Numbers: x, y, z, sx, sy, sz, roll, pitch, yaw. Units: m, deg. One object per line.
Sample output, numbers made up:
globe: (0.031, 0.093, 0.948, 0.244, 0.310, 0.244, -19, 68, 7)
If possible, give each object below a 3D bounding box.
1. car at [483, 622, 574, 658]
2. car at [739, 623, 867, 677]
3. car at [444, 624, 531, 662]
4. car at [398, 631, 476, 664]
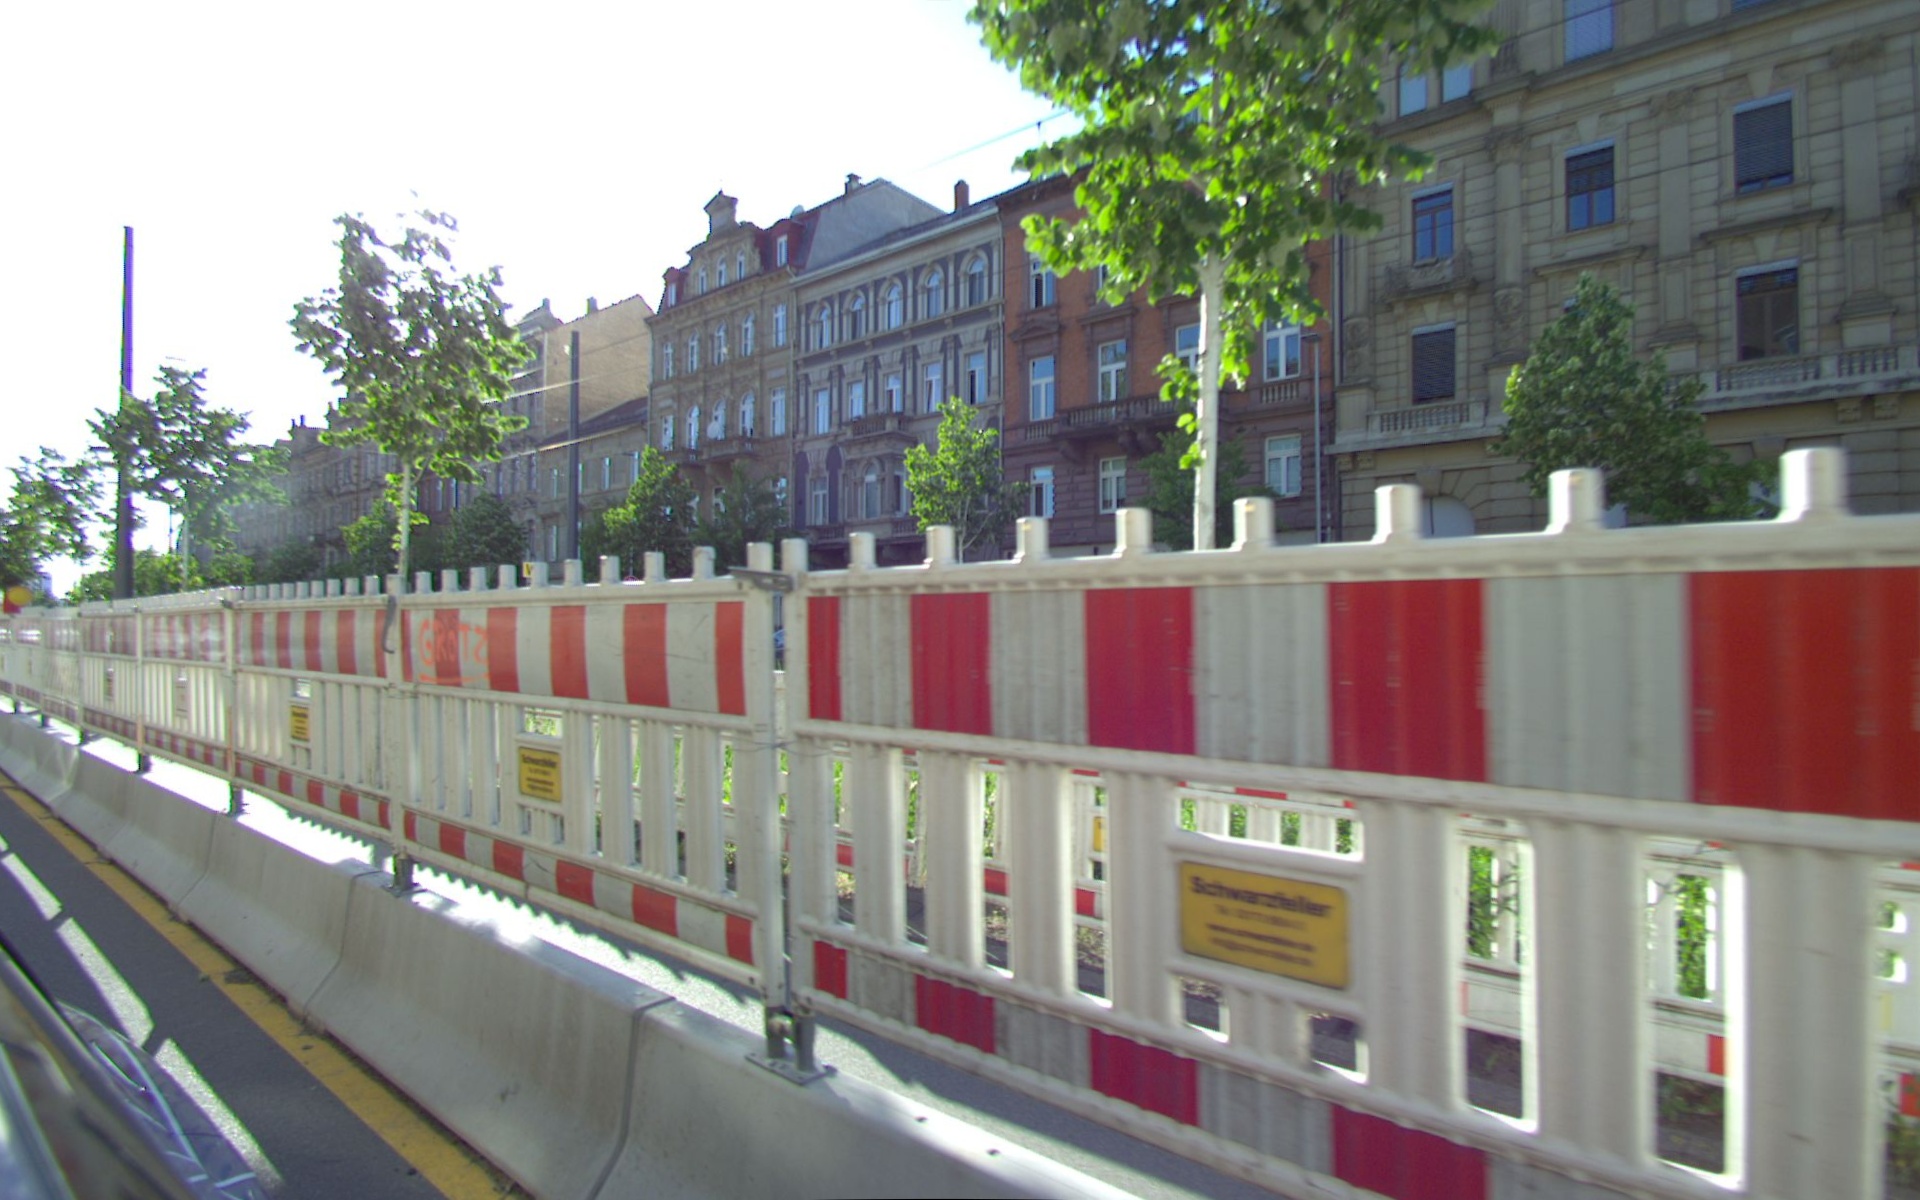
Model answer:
car: (-18.945, 1.740, 44.406, 4.306, 1.449, 1.973, -1, 0, 41)
car: (-5.438, 1.649, 34.697, 4.545, 1.671, 1.917, -1, 0, 43)
car: (-22.907, 2.038, 48.979, 4.885, 1.710, 1.973, -1, 0, 41)
car: (-27.538, 2.451, 53.202, 4.983, 1.549, 1.972, -1, 0, 42)
